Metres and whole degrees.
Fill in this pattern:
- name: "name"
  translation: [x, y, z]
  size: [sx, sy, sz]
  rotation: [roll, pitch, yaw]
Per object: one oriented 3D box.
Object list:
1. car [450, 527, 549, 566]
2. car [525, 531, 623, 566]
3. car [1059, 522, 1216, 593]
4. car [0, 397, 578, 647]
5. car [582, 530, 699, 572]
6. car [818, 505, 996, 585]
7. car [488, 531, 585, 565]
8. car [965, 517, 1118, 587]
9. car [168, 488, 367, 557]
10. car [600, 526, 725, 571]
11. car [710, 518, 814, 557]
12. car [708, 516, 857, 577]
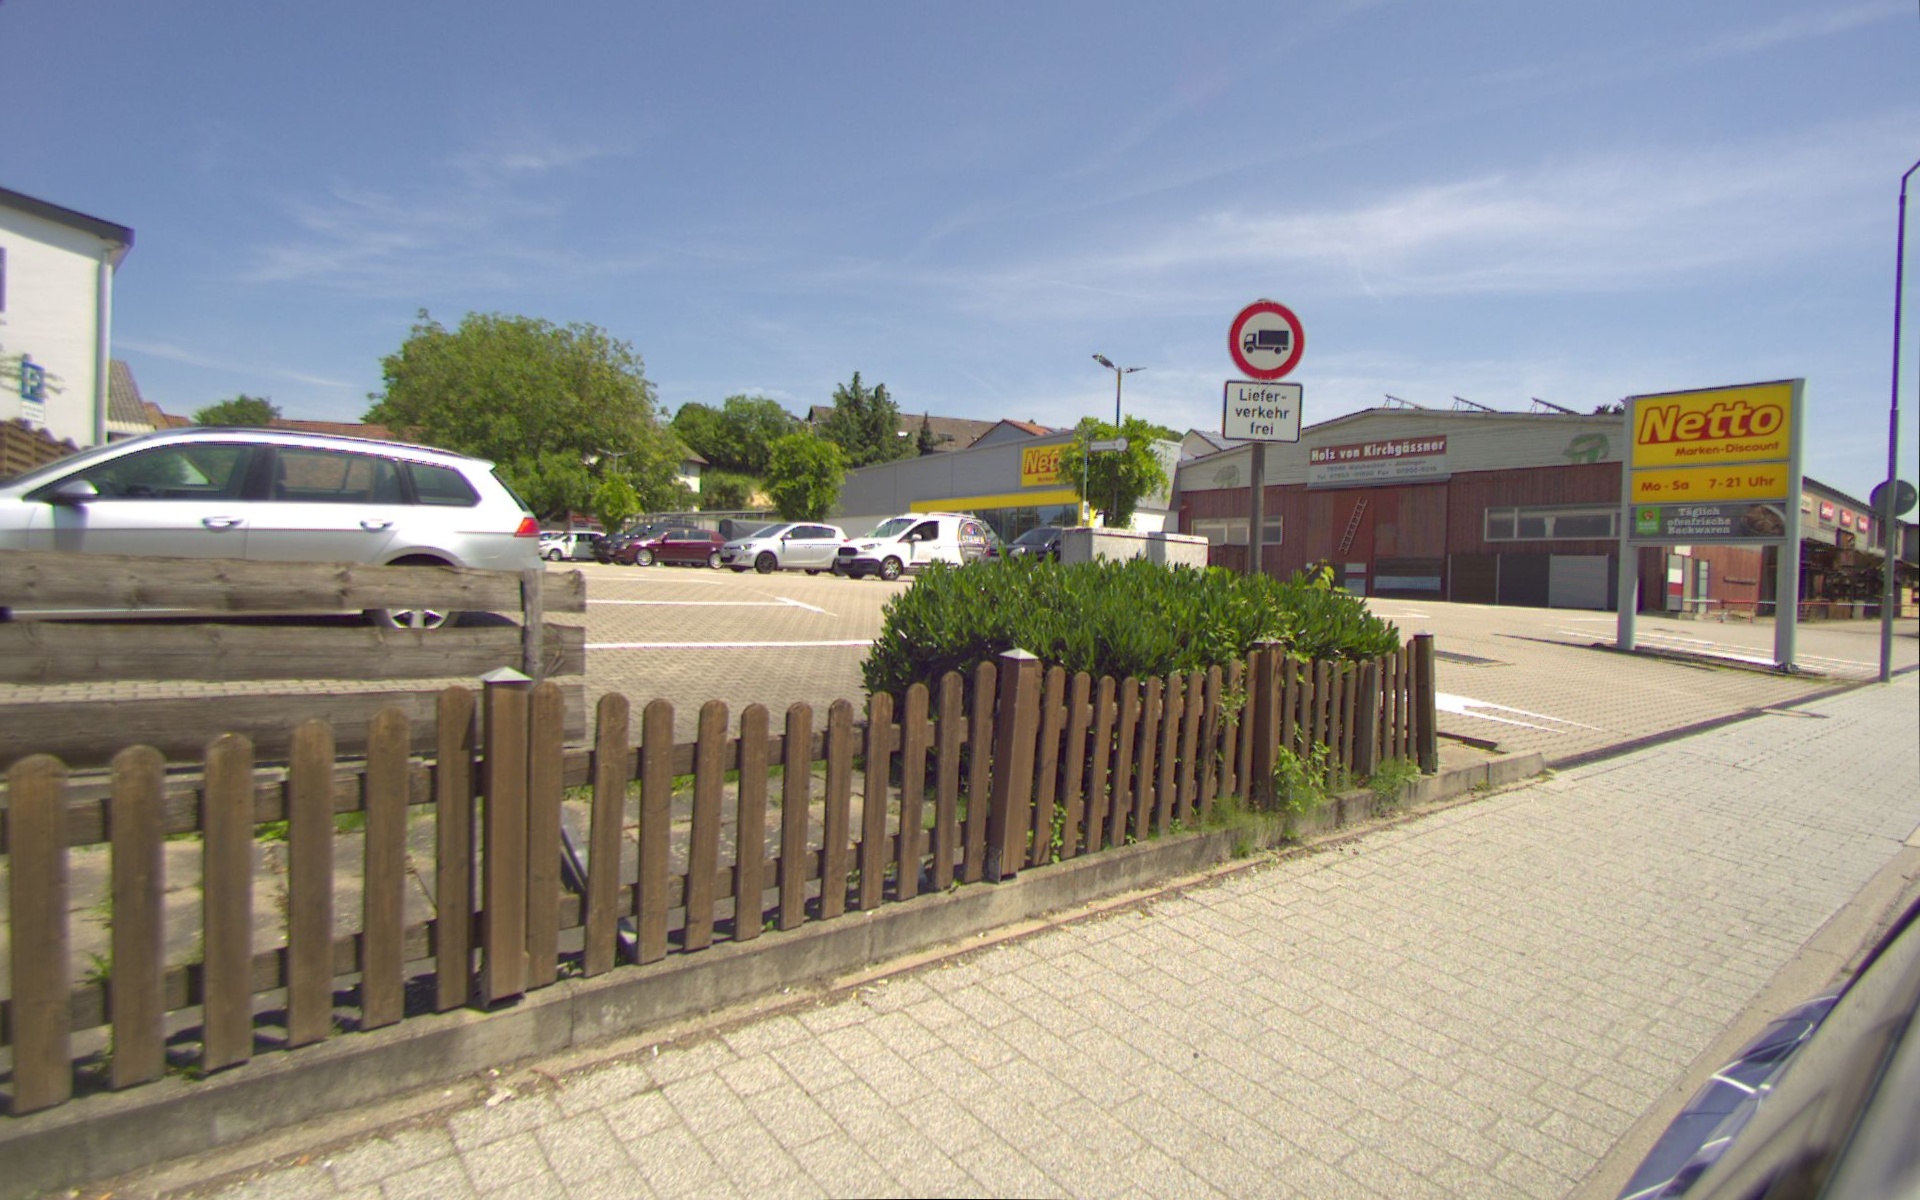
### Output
- name: "car"
  translation: [-23.991, -2.786, 52.779]
  size: [4.308, 1.806, 1.833]
  rotation: [0, 4, -42]
- name: "car"
  translation: [-18.260, -2.441, 47.950]
  size: [4.016, 1.430, 1.645]
  rotation: [0, 4, -40]
- name: "car"
  translation: [4.678, -1.069, 26.333]
  size: [4.138, 1.615, 1.910]
  rotation: [1, 2, -44]
- name: "car"
  translation: [-5.325, -0.561, 7.377]
  size: [4.422, 1.480, 1.636]
  rotation: [0, 7, -40]
- name: "car"
  translation: [-12.480, -1.900, 39.608]
  size: [4.016, 1.430, 1.645]
  rotation: [0, 4, -40]
- name: "car"
  translation: [-1.267, -1.347, 25.180]
  size: [4.056, 1.768, 1.913]
  rotation: [0, 4, -40]
- name: "car"
  translation: [-20.586, -2.536, 49.239]
  size: [4.016, 1.430, 1.645]
  rotation: [0, 4, -40]
- name: "car"
  translation: [2.335, -1.329, 28.530]
  size: [4.056, 1.768, 1.913]
  rotation: [0, 4, -40]
- name: "car"
  translation: [-23.200, -2.574, 34.011]
  size: [5.335, 1.972, 2.142]
  rotation: [0, 4, -40]
- name: "car"
  translation: [-10.818, -1.874, 36.937]
  size: [4.016, 1.430, 1.645]
  rotation: [0, 4, -40]
- name: "car"
  translation: [-8.433, -2.662, 43.219]
  size: [4.016, 1.430, 1.645]
  rotation: [0, 4, -40]
- name: "car"
  translation: [-4.956, -1.484, 28.546]
  size: [3.814, 1.527, 1.622]
  rotation: [0, 4, -41]
